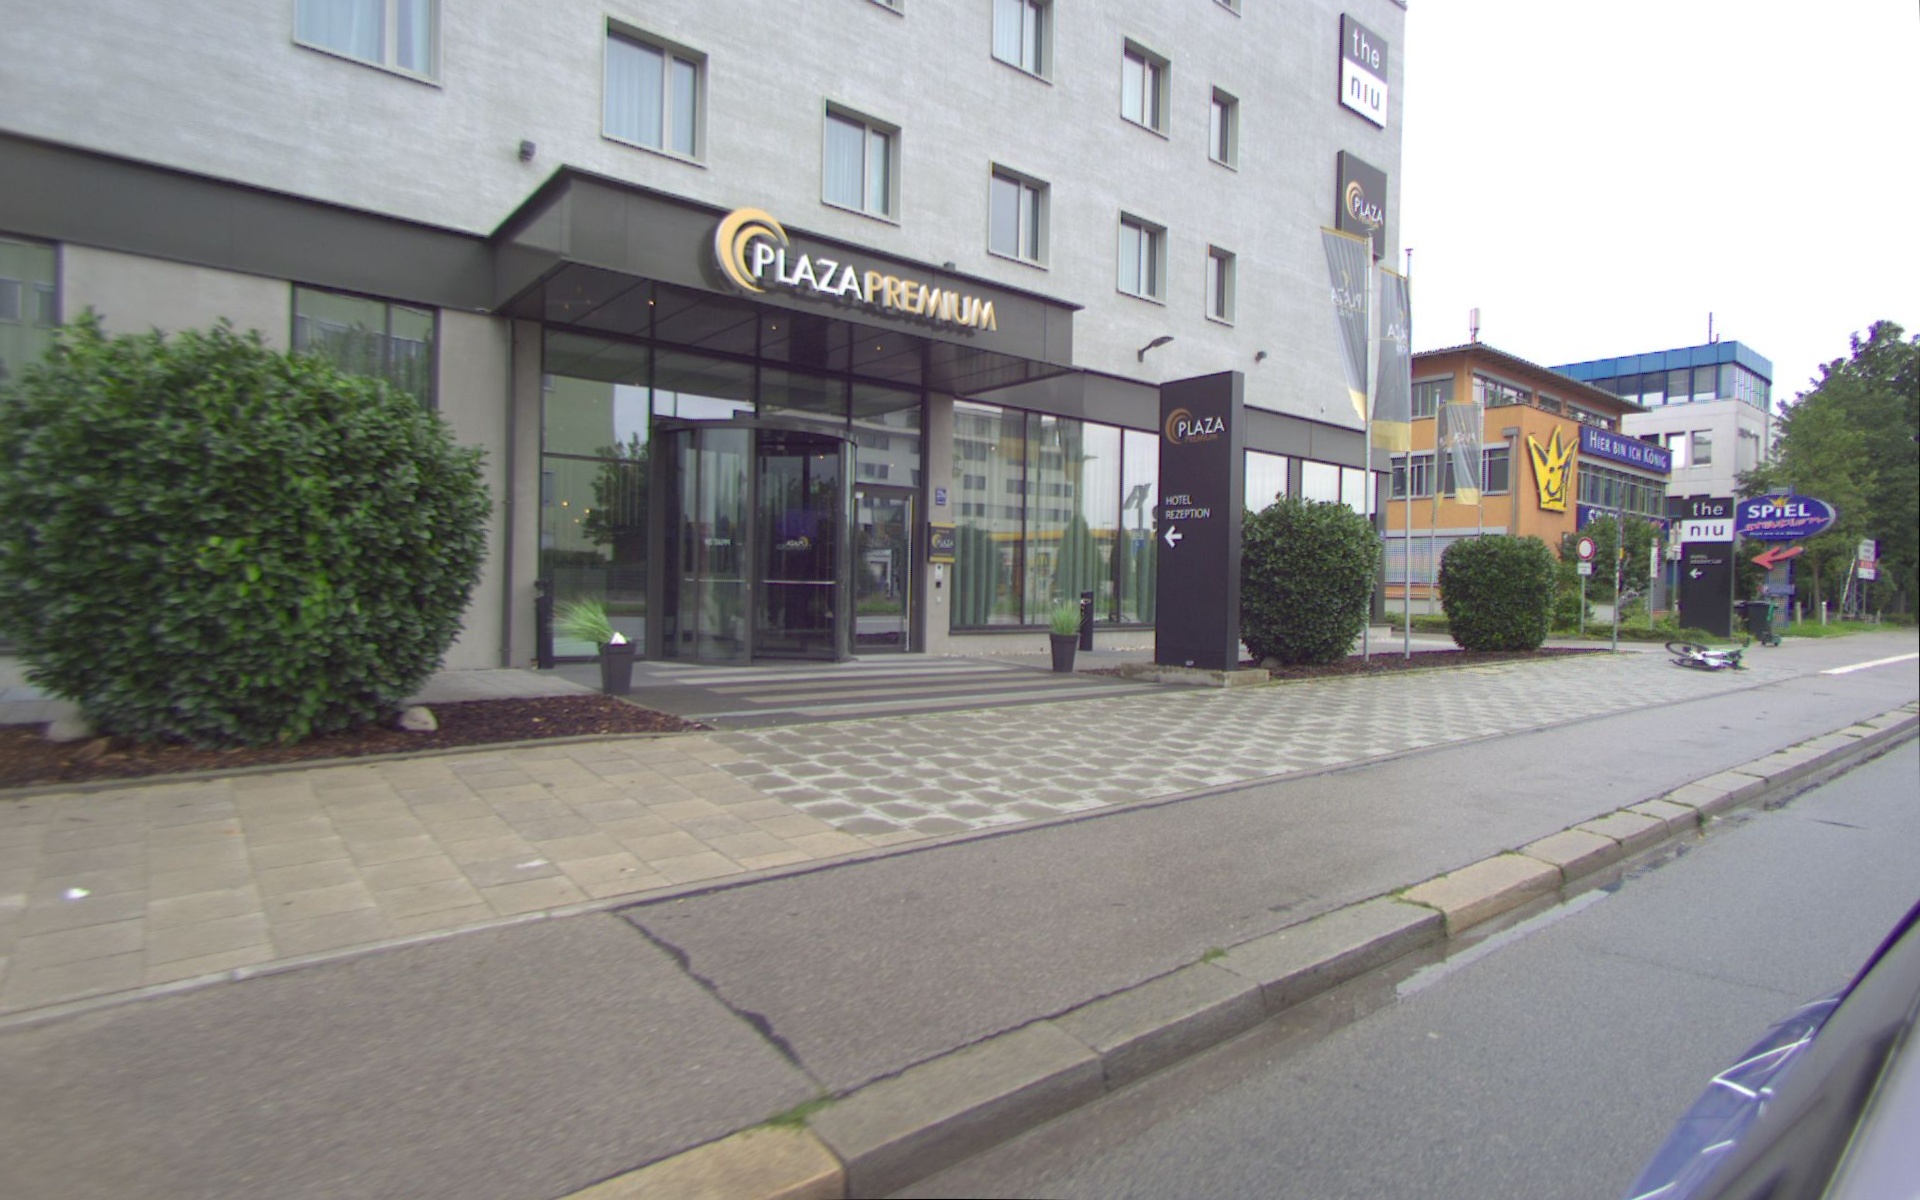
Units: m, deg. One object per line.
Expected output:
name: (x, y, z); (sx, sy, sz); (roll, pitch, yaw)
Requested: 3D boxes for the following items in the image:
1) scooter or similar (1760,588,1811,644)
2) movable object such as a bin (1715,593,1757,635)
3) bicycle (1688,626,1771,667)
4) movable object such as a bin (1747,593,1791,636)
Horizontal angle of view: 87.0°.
scooter or similar: (20.217, 0.377, 24.781); (1.378, 1.292, 0.587); (0, 6, -39)
movable object such as a bin: (21.041, 0.371, 27.431); (0.643, 1.091, 0.739); (1, 2, -38)
bicycle: (13.178, 0.780, 17.312); (1.701, 0.555, 0.722); (0, 5, -39)
movable object such as a bin: (21.322, 0.374, 26.664); (0.643, 1.091, 0.739); (1, 2, -38)
